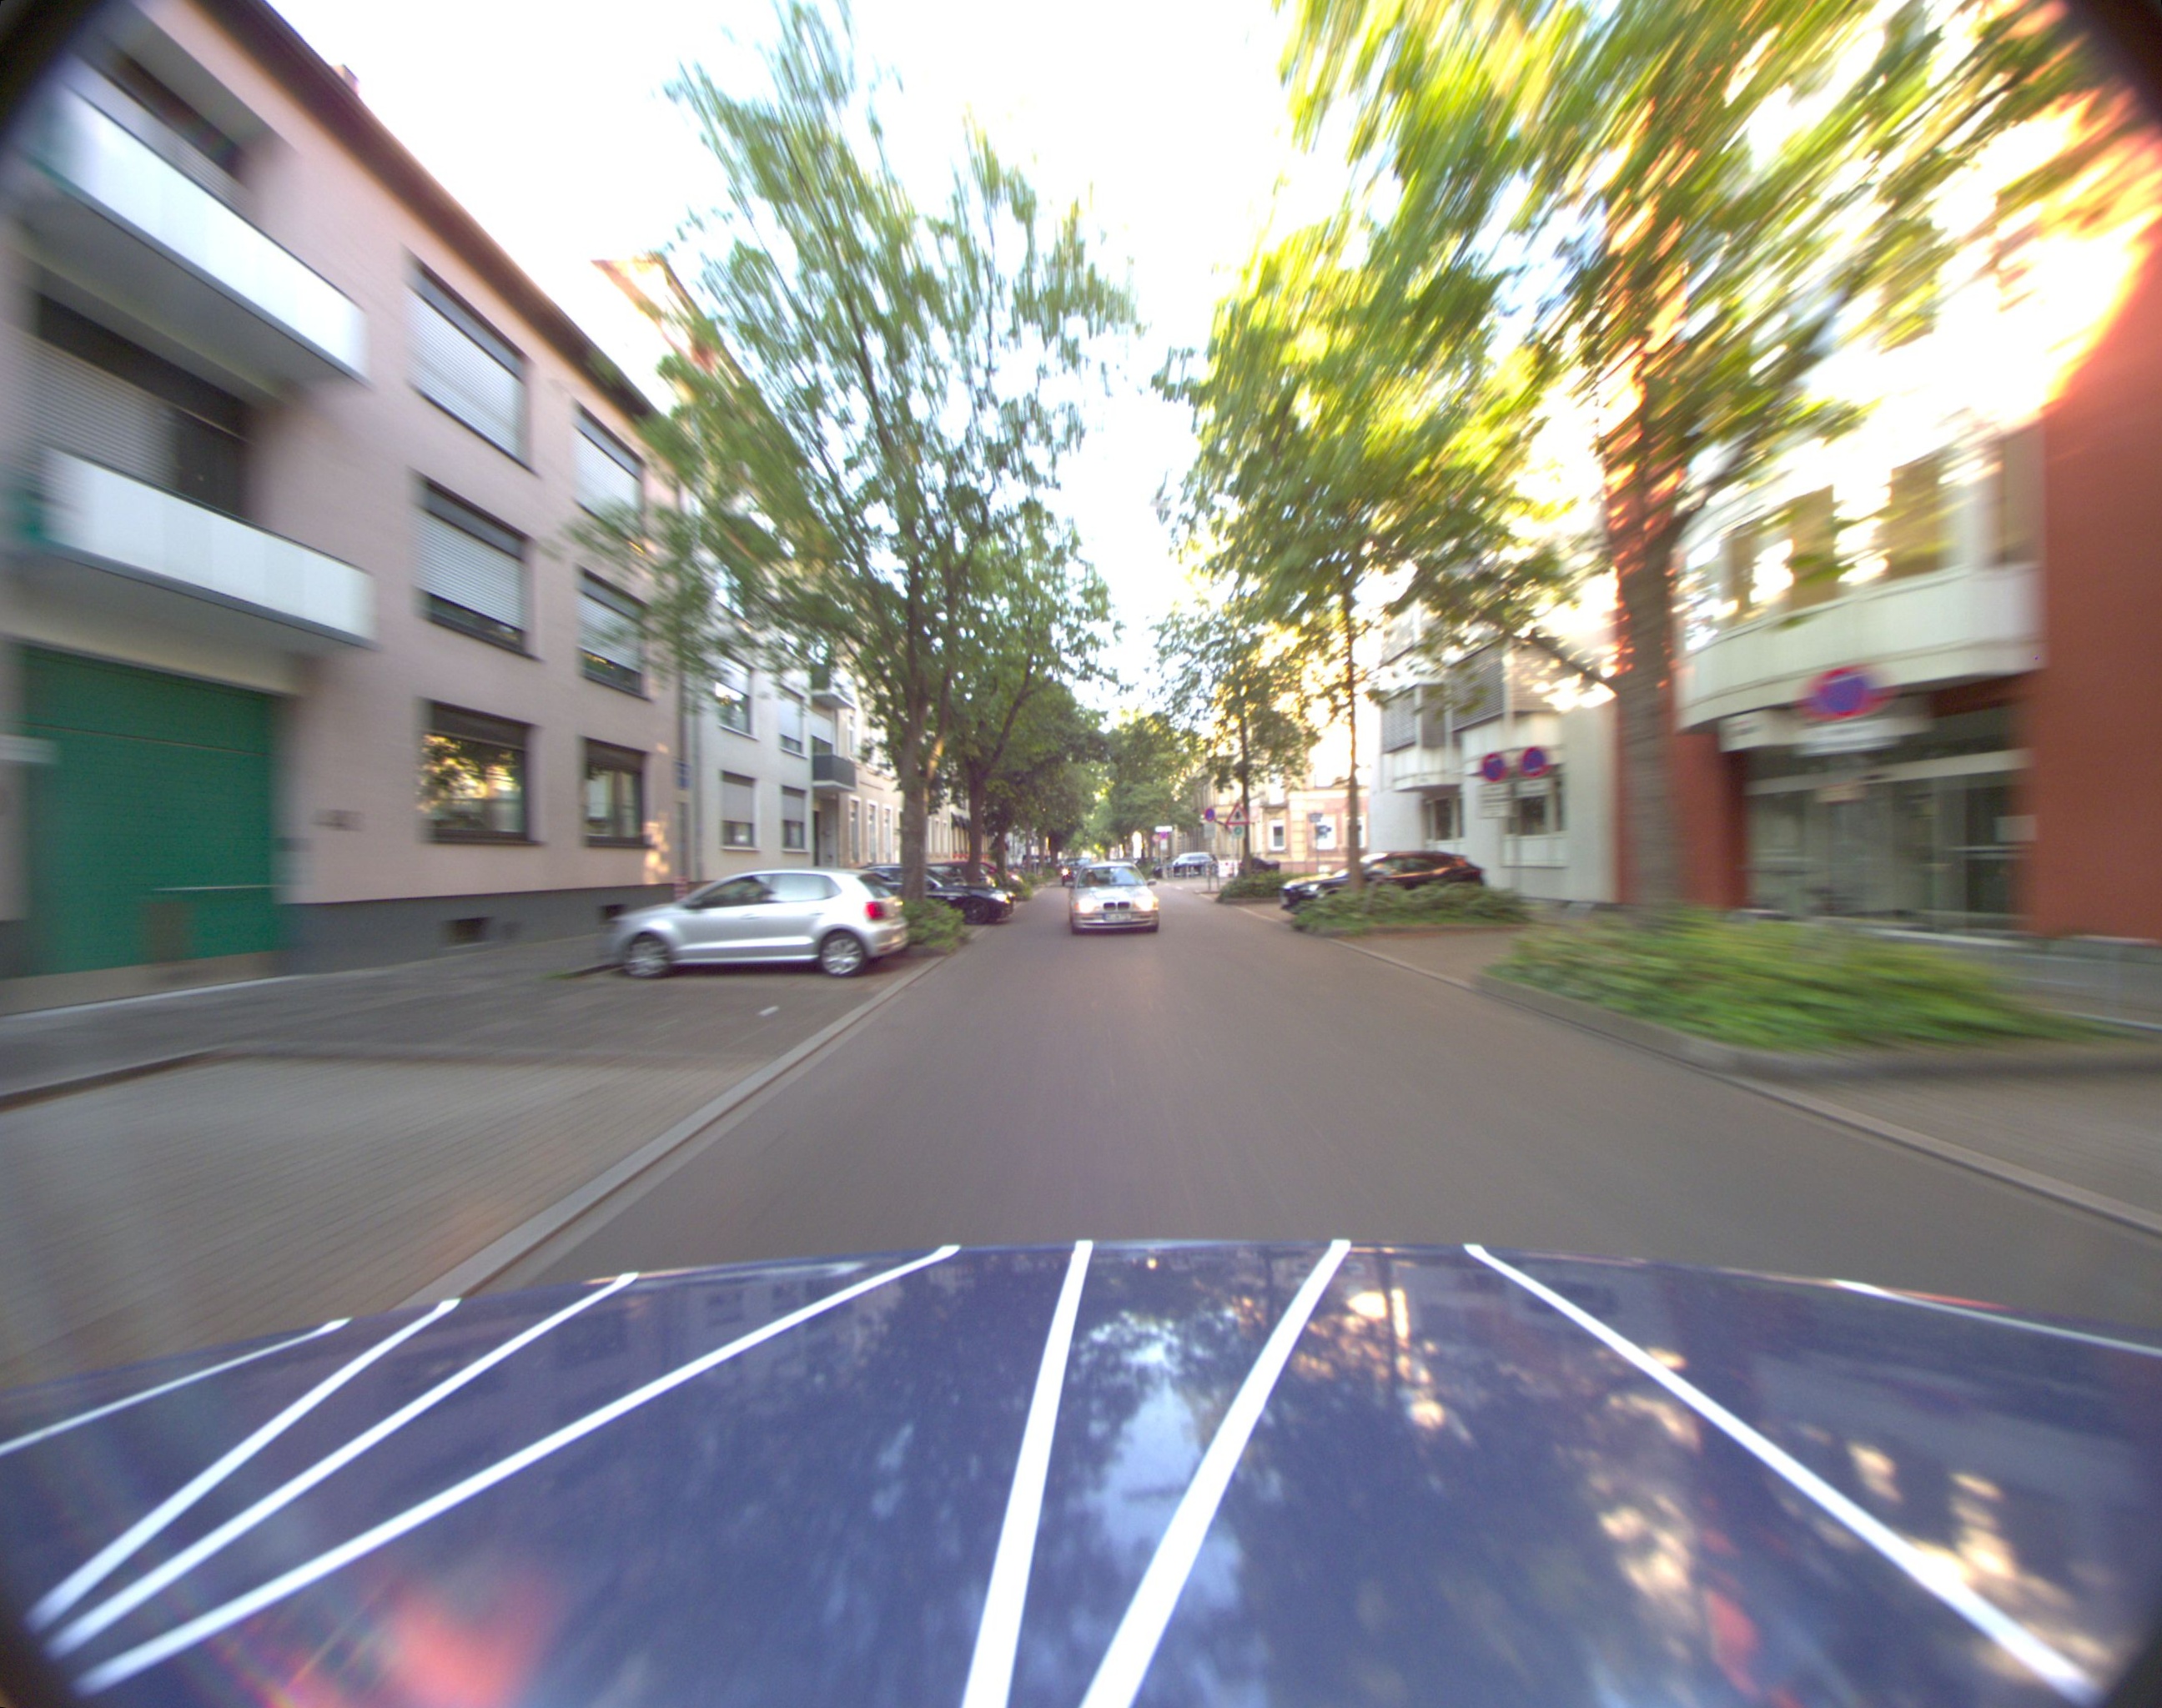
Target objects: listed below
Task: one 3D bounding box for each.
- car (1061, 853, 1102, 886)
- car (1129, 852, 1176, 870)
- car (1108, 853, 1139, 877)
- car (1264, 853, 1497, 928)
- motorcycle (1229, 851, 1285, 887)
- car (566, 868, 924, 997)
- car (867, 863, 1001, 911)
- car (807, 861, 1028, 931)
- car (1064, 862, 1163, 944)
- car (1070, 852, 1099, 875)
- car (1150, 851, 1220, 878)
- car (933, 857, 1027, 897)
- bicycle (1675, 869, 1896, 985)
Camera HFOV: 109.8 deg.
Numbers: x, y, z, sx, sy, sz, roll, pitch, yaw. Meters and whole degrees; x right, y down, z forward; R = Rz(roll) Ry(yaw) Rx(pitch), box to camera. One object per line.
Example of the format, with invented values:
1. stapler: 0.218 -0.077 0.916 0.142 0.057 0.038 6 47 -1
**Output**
1. car: 0.102 0.823 42.188 1.892 1.636 4.001 -2 0 5
2. car: 7.109 0.670 76.229 4.529 1.705 2.000 -1 0 1
3. car: 3.002 0.755 54.565 1.787 1.678 4.385 -1 0 -1
4. car: 6.619 0.779 17.158 4.520 1.517 1.871 -1 0 0
5. motorcycle: 7.618 0.629 32.889 2.234 1.461 0.900 -1 1 -22
6. car: -4.401 1.000 10.469 4.093 1.482 1.797 -1 0 -2
7. car: -4.418 0.980 23.294 3.846 1.403 1.712 0 0 -4
8. car: -3.823 0.969 18.439 4.886 1.488 1.988 -1 0 1
9. car: 0.604 0.891 15.628 1.736 1.363 4.332 -1 0 1
10. car: 0.323 0.732 59.676 1.915 1.678 3.972 -1 0 6
11. car: 7.091 0.713 52.156 4.601 1.725 2.142 -1 0 6
12. car: -4.198 0.943 31.979 3.731 1.544 1.754 -1 0 -2
13. bicycle: 7.742 0.779 8.389 1.964 1.170 0.656 -1 1 -6
